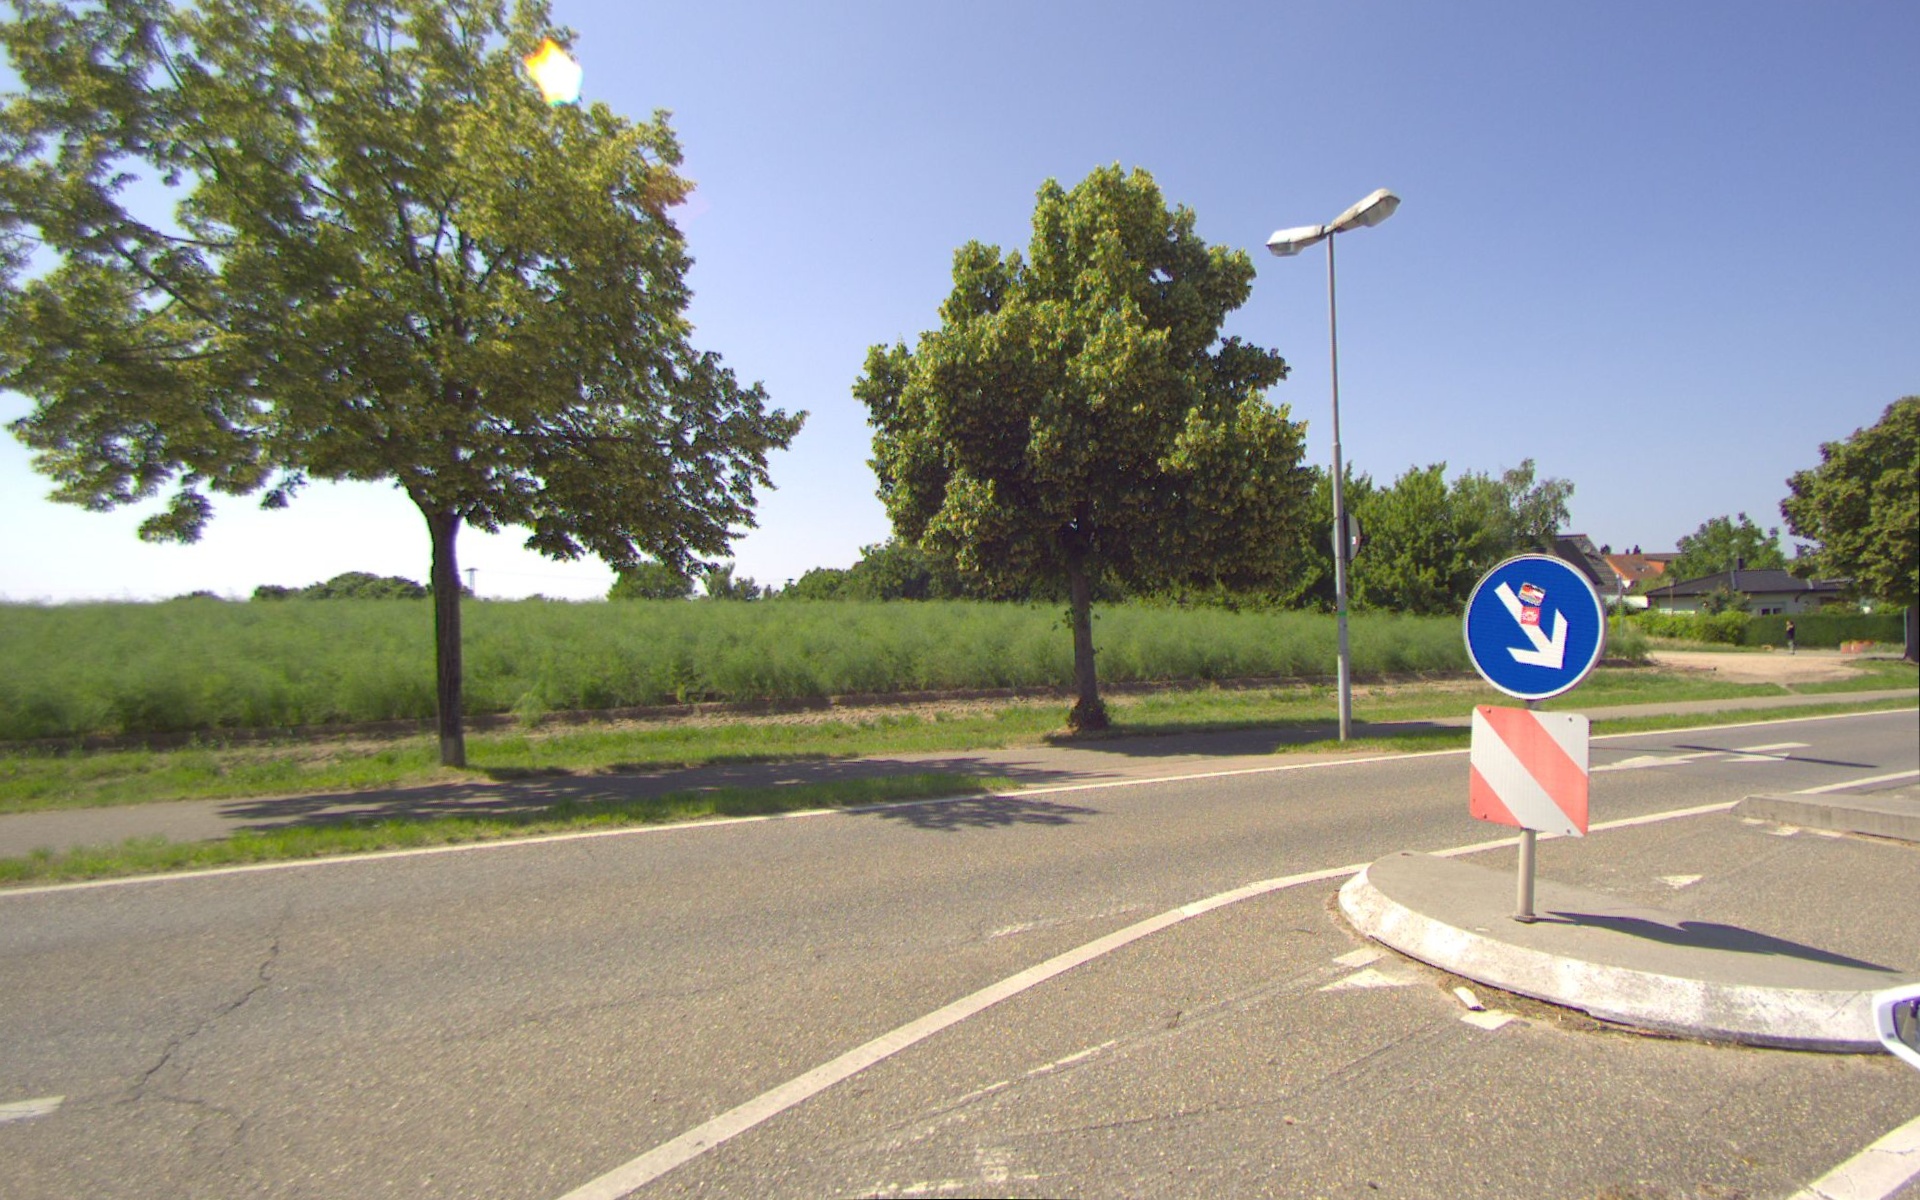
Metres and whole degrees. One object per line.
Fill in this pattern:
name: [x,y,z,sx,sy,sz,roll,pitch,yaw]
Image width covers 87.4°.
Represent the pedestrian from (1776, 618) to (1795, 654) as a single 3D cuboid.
pedestrian: [40.408,1.735,49.185,0.665,1.739,0.549,-1,0,35]
